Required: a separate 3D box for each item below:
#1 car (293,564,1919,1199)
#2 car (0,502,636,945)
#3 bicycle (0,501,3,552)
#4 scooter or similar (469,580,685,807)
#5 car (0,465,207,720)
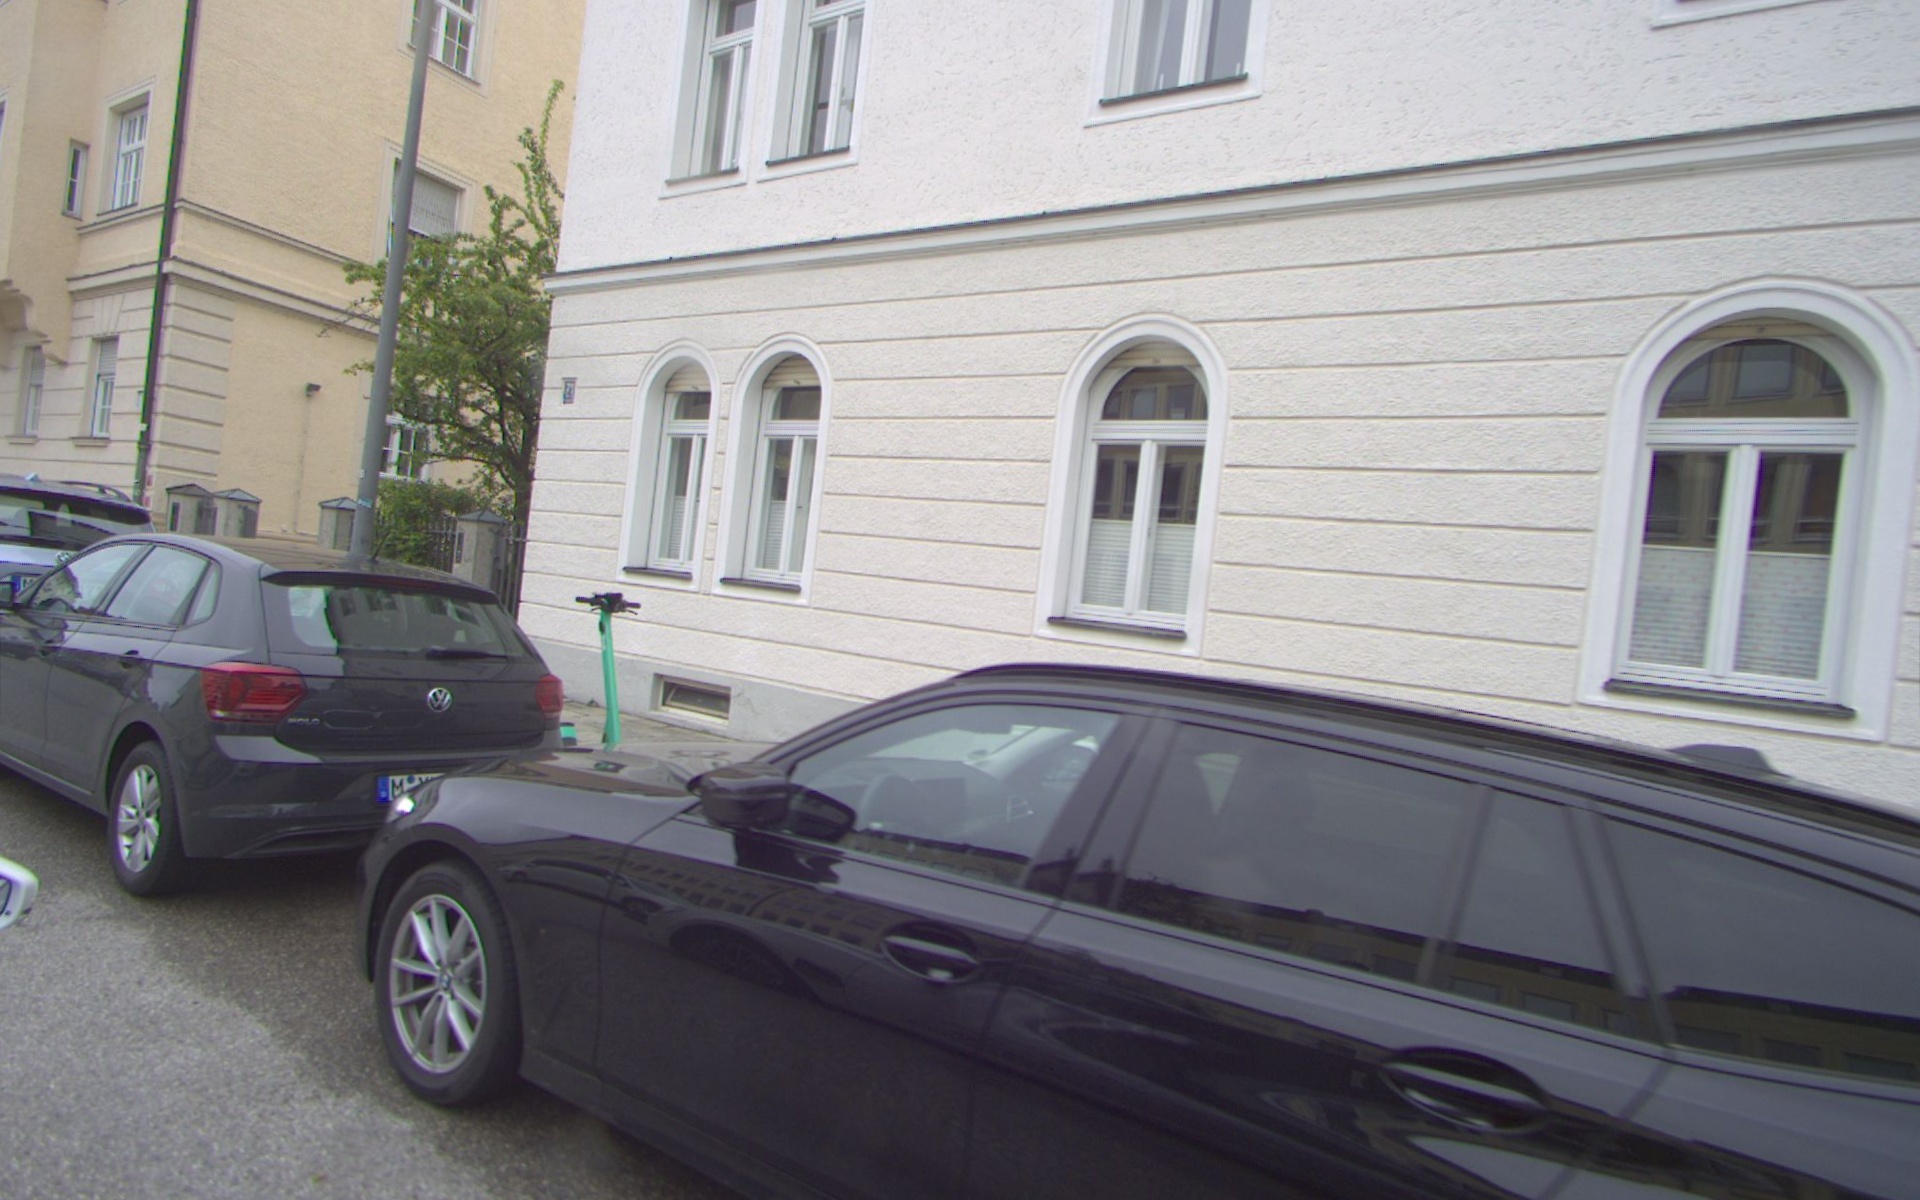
[{"bbox_3d":[0.370,0.887,2.607,4.317,1.444,1.682,6,-1,30],"label":"car"},{"bbox_3d":[-3.812,0.371,5.300,4.019,1.444,1.682,6,-1,31],"label":"car"},{"bbox_3d":[-18.414,-1.364,18.576,1.921,1.097,0.579,7,3,32],"label":"bicycle"},{"bbox_3d":[-2.329,0.538,6.094,1.152,1.178,0.485,6,-1,30],"label":"scooter or similar"},{"bbox_3d":[-7.973,-0.230,7.871,4.383,1.654,1.725,6,-1,31],"label":"car"}]
